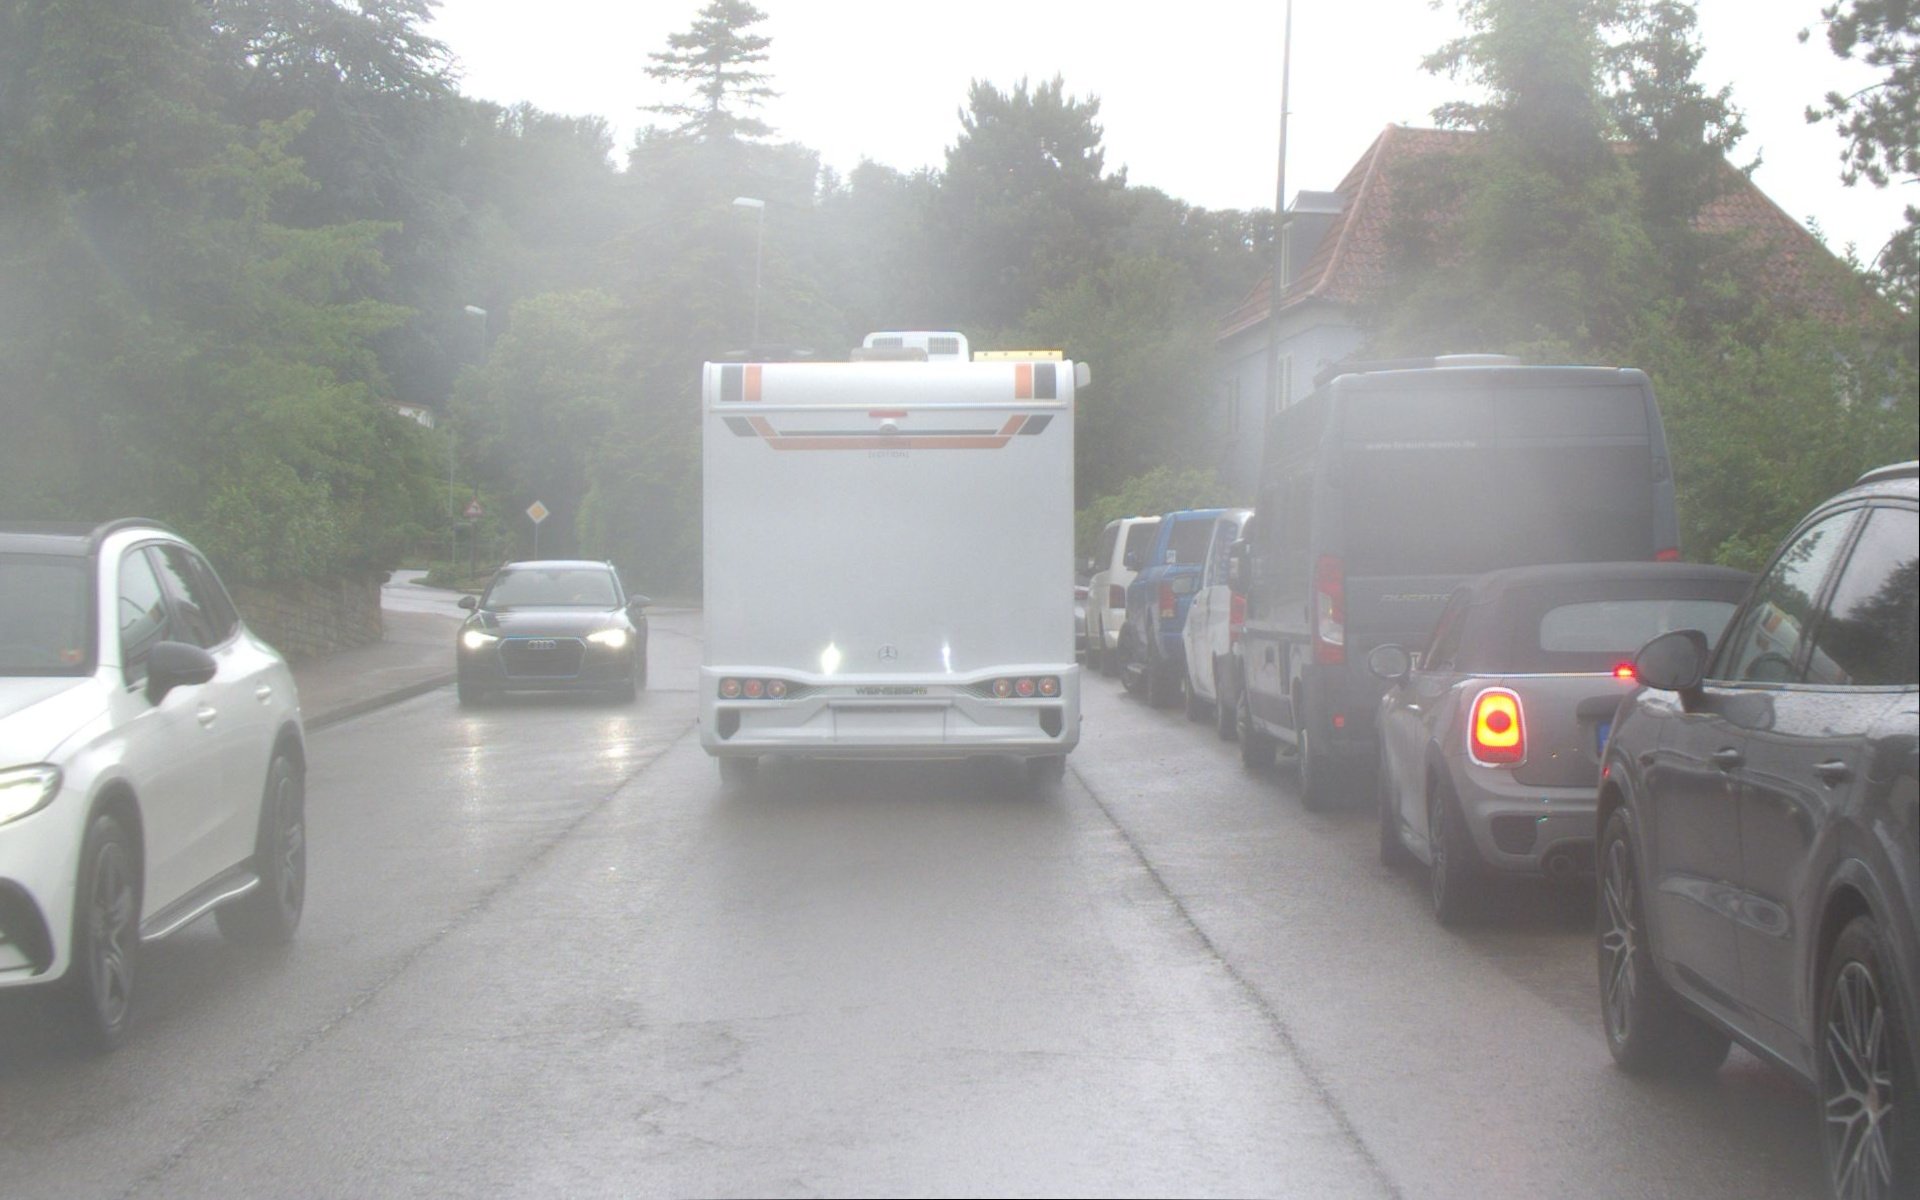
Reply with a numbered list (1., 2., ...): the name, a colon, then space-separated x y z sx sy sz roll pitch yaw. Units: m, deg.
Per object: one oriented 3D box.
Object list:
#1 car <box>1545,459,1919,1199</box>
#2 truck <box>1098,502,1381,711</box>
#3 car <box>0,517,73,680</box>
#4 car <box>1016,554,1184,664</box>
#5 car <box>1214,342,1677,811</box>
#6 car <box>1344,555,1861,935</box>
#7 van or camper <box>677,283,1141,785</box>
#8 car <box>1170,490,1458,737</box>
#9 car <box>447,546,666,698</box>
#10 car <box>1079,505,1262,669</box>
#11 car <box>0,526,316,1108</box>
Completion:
1. car: 2.730 0.544 8.218 1.936 1.666 4.694 0 1 1
2. truck: 2.707 0.005 34.966 2.113 1.845 6.619 2 1 -1
3. car: -9.481 -0.066 30.850 1.774 1.432 4.588 5 1 -1
4. car: 1.955 0.101 49.289 1.685 1.452 4.058 1 1 -8
5. car: 2.817 -0.167 21.374 2.031 2.497 5.956 0 1 0
6. car: 2.642 0.526 14.905 1.589 1.424 3.797 0 1 1
7. van or camper: -0.301 -0.348 23.010 2.616 2.843 6.031 2 -1 0
8. car: 2.825 0.064 28.471 1.827 1.836 5.270 -1 1 0
9. car: -4.178 0.184 36.200 1.774 1.432 4.362 -2 1 0
10. car: 2.607 -0.196 43.660 1.860 1.914 5.080 1 1 -1
11. car: -3.451 0.533 11.465 1.798 1.562 4.384 1 1 -1
